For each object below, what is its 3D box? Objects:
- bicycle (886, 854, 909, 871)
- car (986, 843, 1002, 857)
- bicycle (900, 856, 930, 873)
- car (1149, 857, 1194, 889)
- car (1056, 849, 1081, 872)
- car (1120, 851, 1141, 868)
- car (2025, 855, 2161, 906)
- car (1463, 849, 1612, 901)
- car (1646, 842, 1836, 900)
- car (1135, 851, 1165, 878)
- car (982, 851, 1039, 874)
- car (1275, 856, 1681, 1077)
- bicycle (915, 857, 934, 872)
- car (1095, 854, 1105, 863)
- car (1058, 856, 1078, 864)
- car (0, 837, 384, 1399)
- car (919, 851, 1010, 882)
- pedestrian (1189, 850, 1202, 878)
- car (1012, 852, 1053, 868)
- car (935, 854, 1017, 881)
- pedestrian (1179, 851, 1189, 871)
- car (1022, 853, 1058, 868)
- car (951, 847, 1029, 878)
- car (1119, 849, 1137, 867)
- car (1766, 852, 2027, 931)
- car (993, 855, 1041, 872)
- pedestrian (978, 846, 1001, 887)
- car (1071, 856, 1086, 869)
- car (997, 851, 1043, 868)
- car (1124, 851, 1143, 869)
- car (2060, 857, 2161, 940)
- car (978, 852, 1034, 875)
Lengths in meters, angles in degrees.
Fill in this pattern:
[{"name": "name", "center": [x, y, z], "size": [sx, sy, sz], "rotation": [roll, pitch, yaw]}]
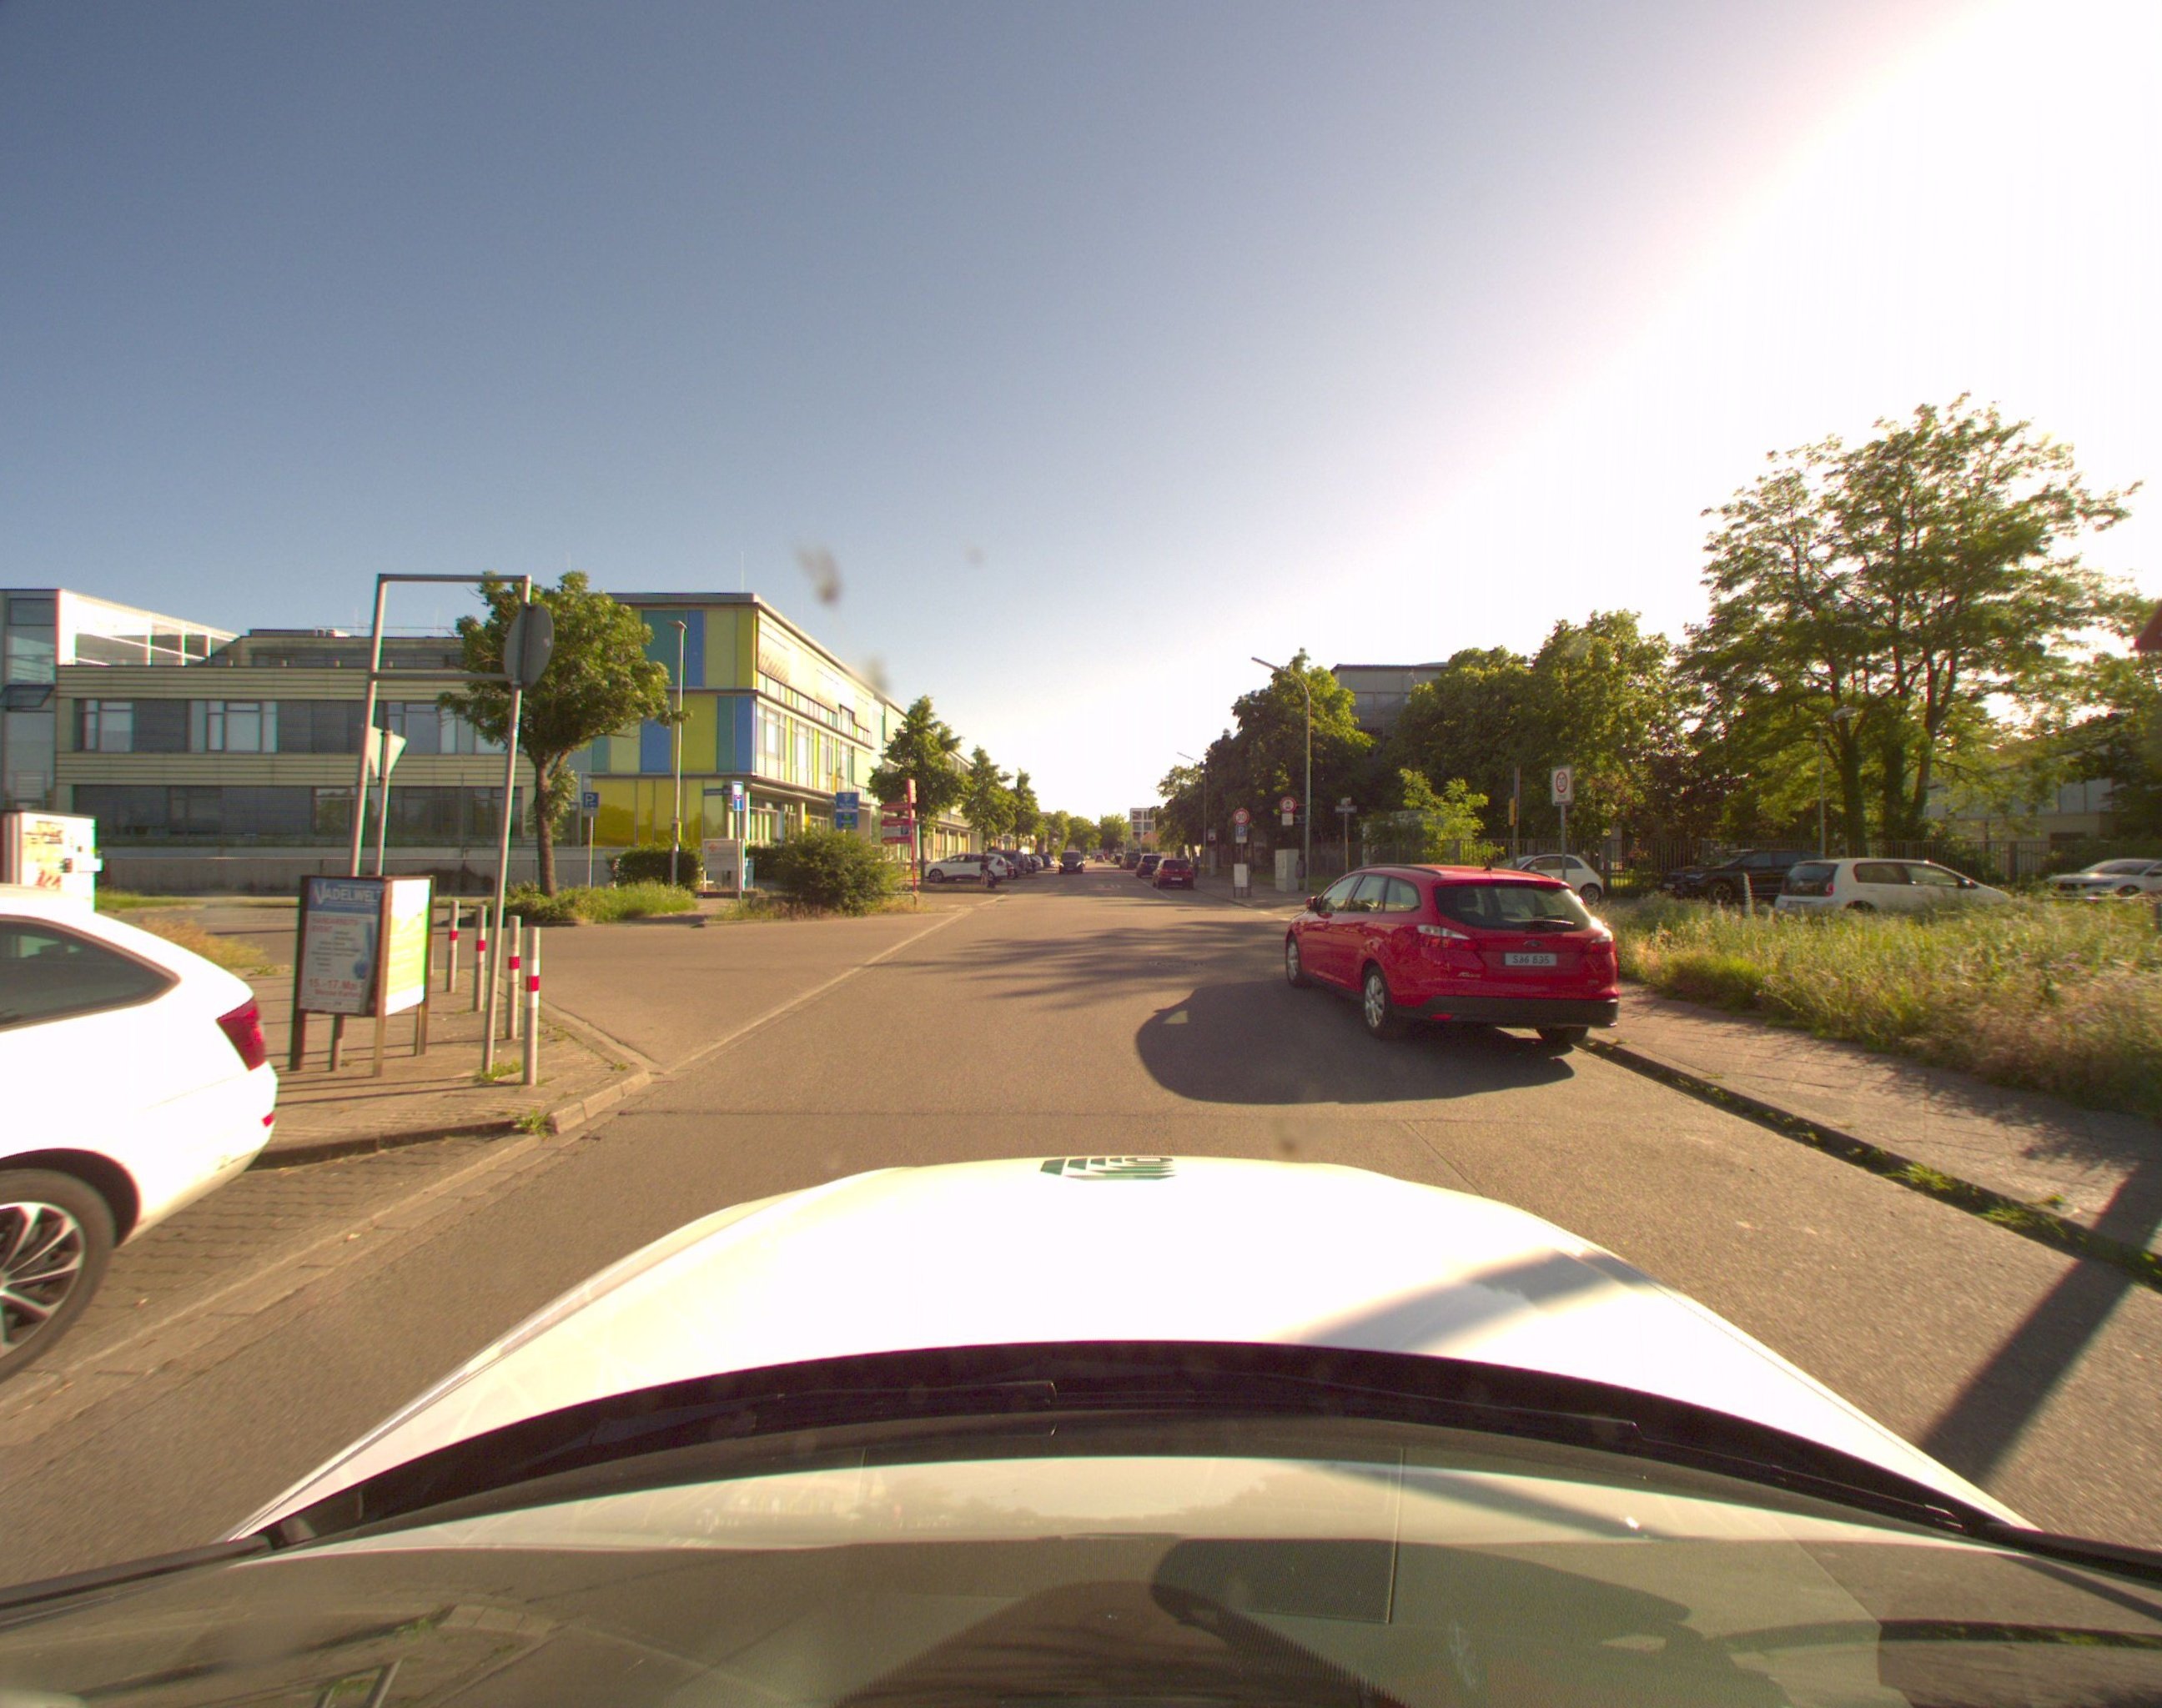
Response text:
[{"name": "bicycle", "center": [-13.095, 0.619, 58.206], "size": [0.864, 1.153, 1.998], "rotation": [2, -1, 10]}, {"name": "car", "center": [-13.281, -0.536, 124.344], "size": [1.987, 2.014, 4.000], "rotation": [0, -1, 1]}, {"name": "bicycle", "center": [-11.737, 0.738, 57.611], "size": [0.861, 1.153, 2.385], "rotation": [1, -1, 22]}, {"name": "car", "center": [4.438, 0.881, 40.529], "size": [1.714, 1.455, 4.652], "rotation": [1, 0, 0]}, {"name": "car", "center": [-0.994, 0.505, 67.833], "size": [1.948, 1.867, 5.255], "rotation": [0, 0, 1]}, {"name": "car", "center": [5.315, 0.558, 87.774], "size": [1.987, 1.823, 4.199], "rotation": [-1, 0, 1]}, {"name": "car", "center": [30.477, 0.744, 23.754], "size": [3.975, 1.437, 1.711], "rotation": [0, 0, -1]}, {"name": "car", "center": [13.465, 0.612, 24.143], "size": [3.533, 1.486, 1.601], "rotation": [0, 0, 1]}, {"name": "car", "center": [19.210, 0.479, 23.840], "size": [4.137, 1.637, 1.756], "rotation": [0, 0, 1]}, {"name": "car", "center": [4.777, 0.695, 56.571], "size": [1.805, 1.666, 4.595], "rotation": [1, 1, 2]}, {"name": "car", "center": [-5.359, 0.646, 62.702], "size": [4.237, 1.611, 2.046], "rotation": [2, 0, -3]}, {"name": "car", "center": [3.339, 0.799, 7.980], "size": [1.813, 1.499, 4.452], "rotation": [2, 0, 0]}, {"name": "bicycle", "center": [-11.779, 0.784, 61.403], "size": [0.888, 1.111, 1.892], "rotation": [2, 1, 5]}, {"name": "car", "center": [3.316, 0.847, 142.032], "size": [1.737, 1.543, 4.000], "rotation": [1, 0, 1]}, {"name": "car", "center": [-2.700, 1.231, 169.106], "size": [3.973, 1.519, 2.000], "rotation": [0, -1, 1]}, {"name": "car", "center": [-3.816, 0.713, 1.134], "size": [1.690, 1.513, 4.517], "rotation": [2, 0, 1]}, {"name": "car", "center": [-6.296, 0.676, 44.409], "size": [4.591, 1.651, 1.870], "rotation": [0, -1, 4]}, {"name": "pedestrian", "center": [7.317, 0.639, 52.034], "size": [0.715, 1.758, 0.885], "rotation": [-2, 0, 1]}, {"name": "car", "center": [-5.111, 0.626, 85.512], "size": [4.204, 1.603, 1.870], "rotation": [2, 0, -3]}, {"name": "car", "center": [-6.041, 0.763, 47.108], "size": [4.418, 1.501, 1.828], "rotation": [0, -1, 1]}, {"name": "pedestrian", "center": [8.750, 0.598, 69.065], "size": [0.696, 1.661, 0.752], "rotation": [-3, 0, 0]}, {"name": "car", "center": [-4.562, 0.697, 90.467], "size": [3.976, 1.552, 1.999], "rotation": [0, 0, -2]}, {"name": "car", "center": [-5.839, 0.546, 52.756], "size": [4.725, 1.865, 1.828], "rotation": [2, 0, 1]}, {"name": "car", "center": [5.381, 0.463, 94.022], "size": [1.868, 1.978, 4.000], "rotation": [-1, 0, 1]}, {"name": "car", "center": [15.887, 0.697, 16.026], "size": [3.310, 1.458, 1.717], "rotation": [0, 0, 5]}, {"name": "car", "center": [-5.345, 0.791, 68.551], "size": [3.978, 1.358, 1.741], "rotation": [2, 0, -3]}, {"name": "pedestrian", "center": [-4.145, 0.567, 37.114], "size": [0.854, 1.842, 0.826], "rotation": [2, 0, 2]}, {"name": "car", "center": [-0.289, 1.003, 96.109], "size": [1.697, 1.451, 4.087], "rotation": [-1, 0, 1]}, {"name": "car", "center": [-5.617, 0.509, 75.508], "size": [4.204, 1.462, 1.870], "rotation": [2, 0, -3]}, {"name": "car", "center": [5.206, 0.591, 81.533], "size": [1.726, 1.830, 3.906], "rotation": [0, 0, 1]}, {"name": "car", "center": [20.468, 0.812, 14.355], "size": [1.687, 1.470, 4.001], "rotation": [-1, 0, 1]}, {"name": "car", "center": [-5.487, 0.681, 59.748], "size": [3.978, 1.607, 1.870], "rotation": [2, 0, -3]}]
